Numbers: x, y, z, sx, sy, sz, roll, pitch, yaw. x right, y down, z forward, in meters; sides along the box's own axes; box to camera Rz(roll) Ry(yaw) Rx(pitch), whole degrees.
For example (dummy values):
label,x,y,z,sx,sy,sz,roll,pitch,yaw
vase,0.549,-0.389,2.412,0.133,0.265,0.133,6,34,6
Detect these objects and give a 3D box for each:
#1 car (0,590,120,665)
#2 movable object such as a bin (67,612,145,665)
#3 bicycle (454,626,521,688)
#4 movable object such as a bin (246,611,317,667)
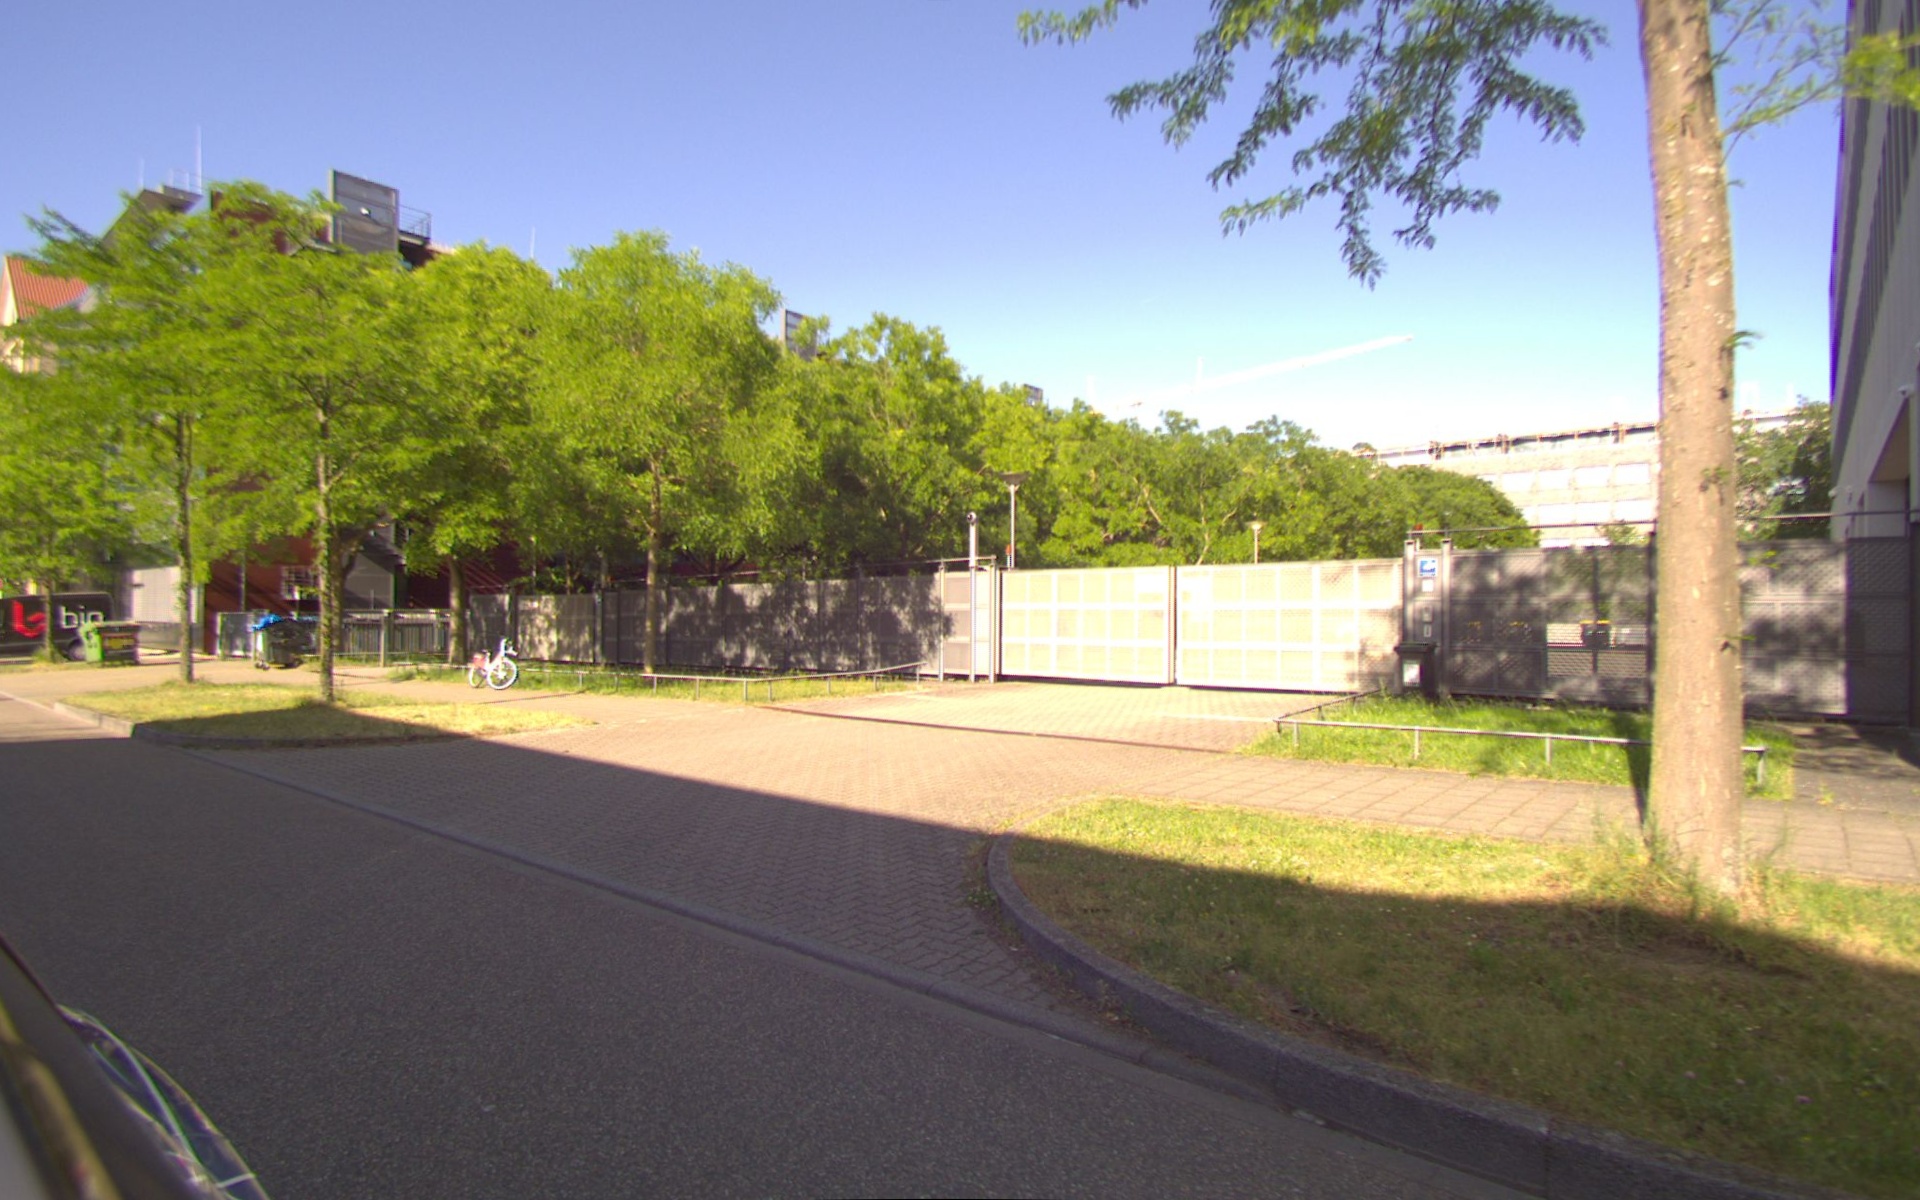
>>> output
label,x,y,z,sx,sy,sz,roll,pitch,yaw
car,-34.048,0.986,36.523,1.985,2.560,5.421,-1,1,40
movable object such as a bin,-26.452,1.181,31.370,1.342,1.580,1.508,-1,-1,31
bicycle,-9.621,1.131,20.594,1.727,1.201,0.594,-1,-1,41
movable object such as a bin,-19.838,1.114,29.578,1.501,1.580,1.347,0,-1,-44
